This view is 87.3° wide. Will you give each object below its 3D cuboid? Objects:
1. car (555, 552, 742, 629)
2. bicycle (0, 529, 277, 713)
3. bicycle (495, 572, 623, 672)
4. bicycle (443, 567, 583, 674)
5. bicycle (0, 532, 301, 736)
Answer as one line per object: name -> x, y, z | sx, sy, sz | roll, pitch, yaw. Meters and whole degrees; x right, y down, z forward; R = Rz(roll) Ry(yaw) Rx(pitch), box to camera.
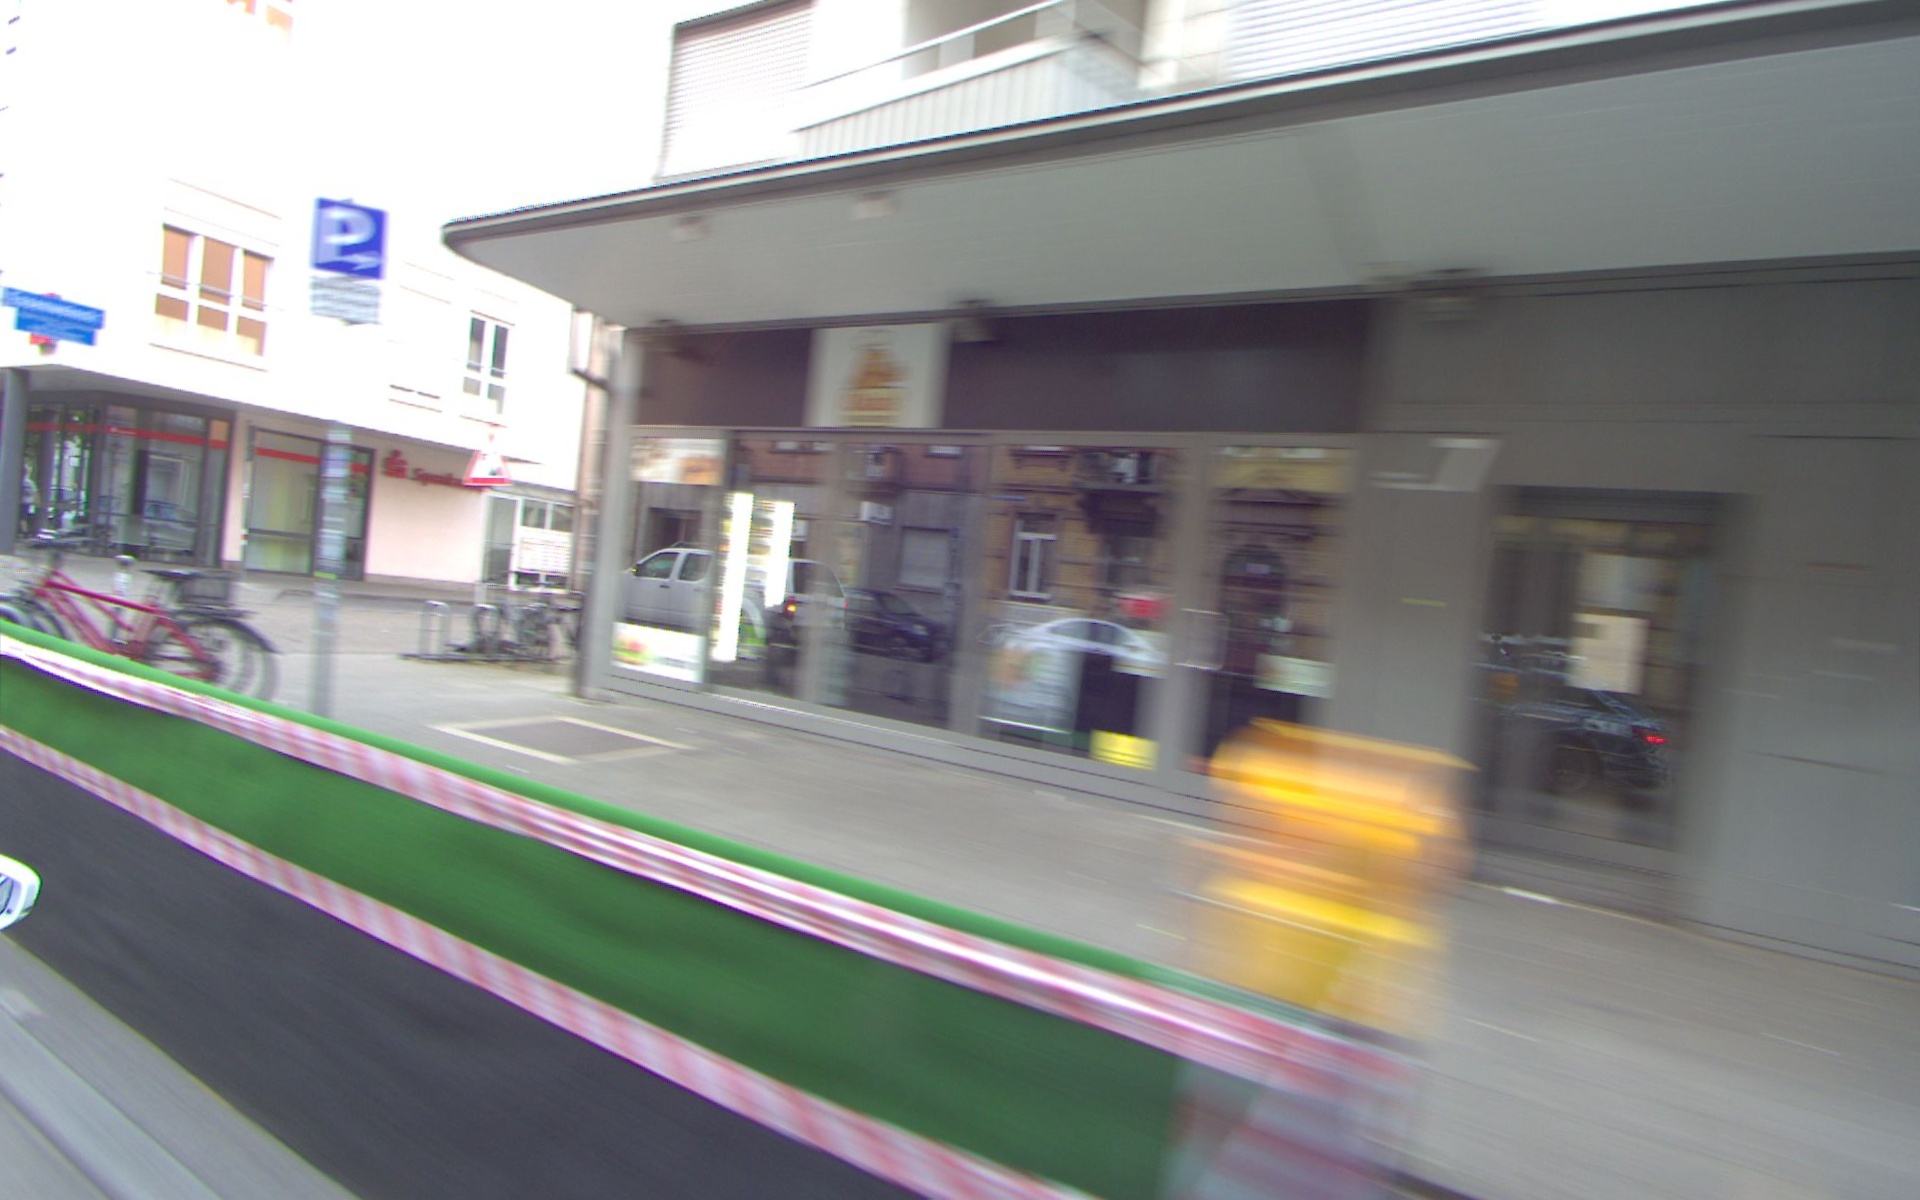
car -> -7.809, -0.201, 25.595 | 1.764, 1.452, 4.231 | 10, 3, 36
bicycle -> -5.995, 0.143, 6.998 | 1.917, 1.150, 0.653 | 4, 3, -22
bicycle -> -4.960, 0.257, 12.396 | 1.730, 1.081, 0.562 | 5, 1, 36
bicycle -> -5.271, 0.221, 11.809 | 1.933, 1.081, 0.562 | 5, 1, 36
bicycle -> -5.346, 0.208, 6.281 | 1.917, 1.150, 0.653 | 4, 3, -22
